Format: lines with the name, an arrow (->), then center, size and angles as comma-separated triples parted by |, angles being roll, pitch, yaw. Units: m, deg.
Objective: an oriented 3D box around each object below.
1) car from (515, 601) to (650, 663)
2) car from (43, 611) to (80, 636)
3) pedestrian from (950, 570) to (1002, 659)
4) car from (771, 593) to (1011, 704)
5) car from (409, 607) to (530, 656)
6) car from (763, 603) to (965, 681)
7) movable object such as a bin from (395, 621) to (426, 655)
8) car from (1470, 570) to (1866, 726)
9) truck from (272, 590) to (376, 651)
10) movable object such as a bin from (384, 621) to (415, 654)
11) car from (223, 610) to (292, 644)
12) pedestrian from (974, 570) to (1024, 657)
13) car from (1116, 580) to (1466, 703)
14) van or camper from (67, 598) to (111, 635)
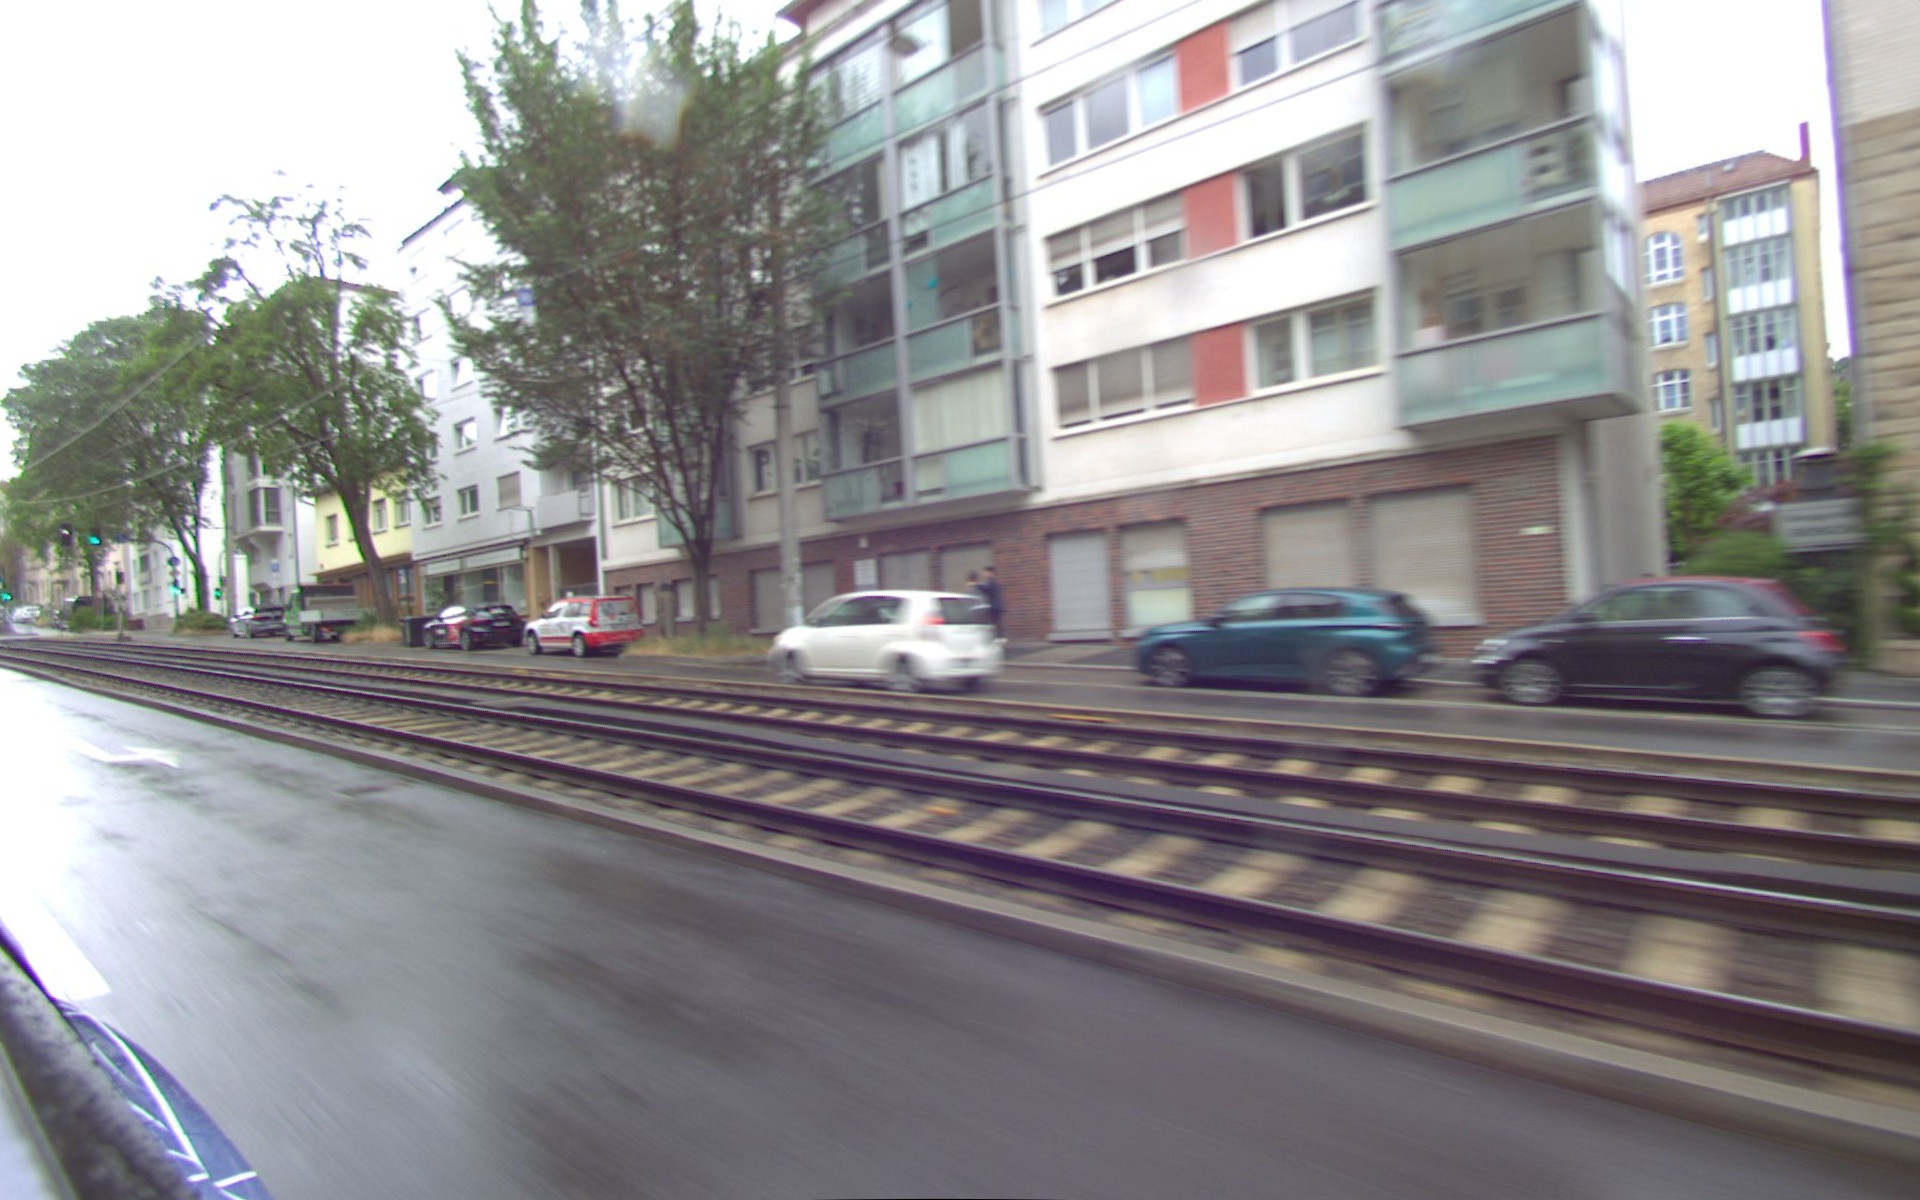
car -> -10.531, 0.861, 28.110 | 4.157, 1.581, 1.758 | -1, 0, 41
car -> -77.353, 2.022, 87.071 | 4.000, 2.029, 1.972 | -1, 0, 43
pedestrian -> 0.331, 0.283, 20.814 | 0.782, 1.785, 0.666 | -1, 0, 41
car -> -1.131, 0.687, 15.547 | 3.579, 1.493, 1.610 | -1, 0, 41
car -> -15.961, 1.008, 32.860 | 4.466, 1.451, 1.887 | -1, 0, 40
car -> -2.031, 0.802, 20.578 | 4.128, 1.345, 1.685 | -1, 2, 42
movable object such as a bin -> -18.925, 1.294, 34.827 | 0.670, 1.130, 0.718 | -2, -1, 35
car -> 8.059, 0.469, 11.723 | 3.523, 1.509, 1.789 | -1, 2, 40
truck -> -26.610, 0.782, 42.221 | 6.353, 2.363, 2.168 | 0, 1, 43
movable object such as a bin -> -19.502, 1.300, 35.230 | 0.670, 1.130, 0.718 | -2, -1, 35
car -> -34.001, 1.284, 48.925 | 4.358, 1.471, 1.687 | -1, 2, 41
pedestrian -> 0.818, 0.278, 21.383 | 0.782, 1.785, 0.666 | -1, 0, 41
car -> 4.655, 0.555, 14.618 | 4.427, 1.465, 1.783 | -2, 1, 40
van or camper -> -70.053, 1.325, 81.383 | 5.211, 2.819, 1.972 | -1, 0, 42
